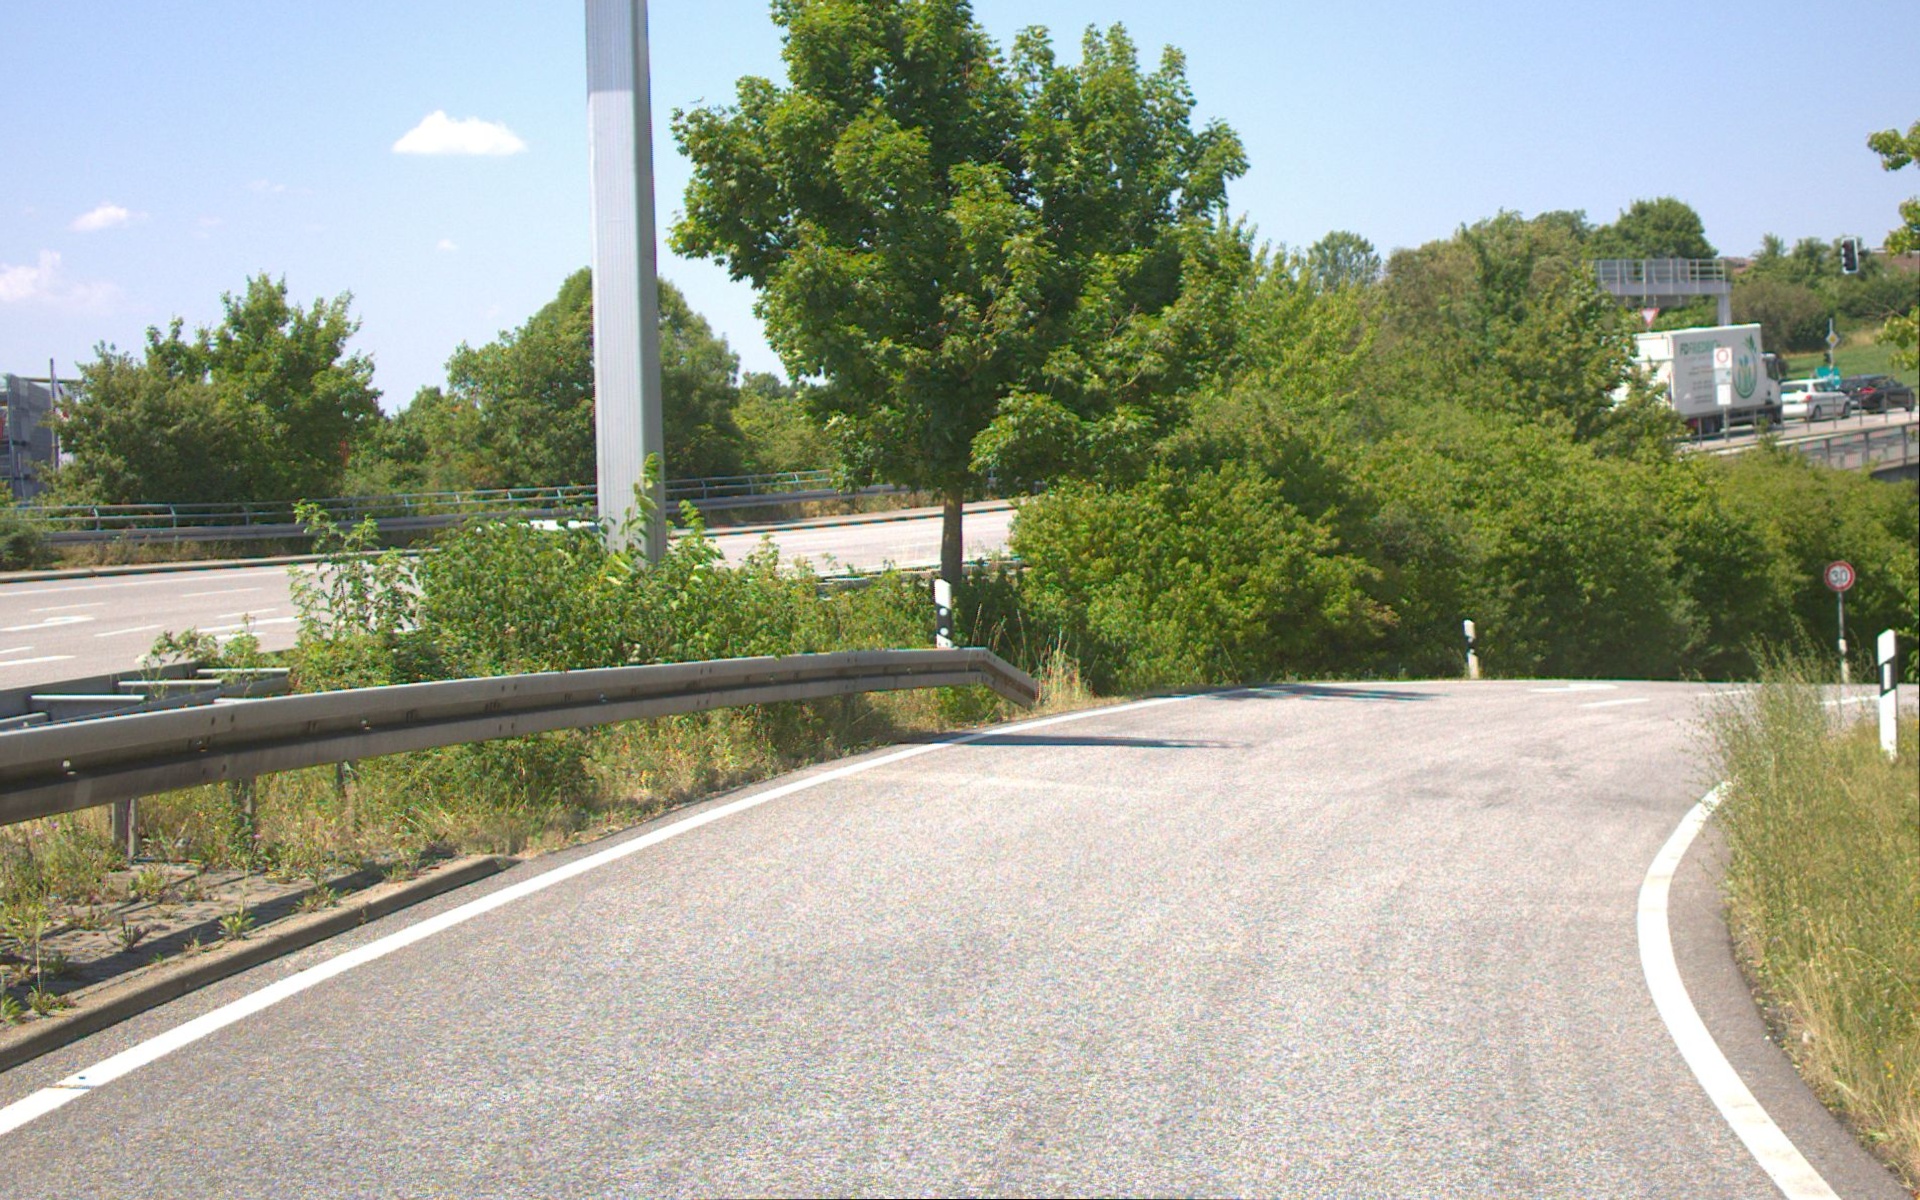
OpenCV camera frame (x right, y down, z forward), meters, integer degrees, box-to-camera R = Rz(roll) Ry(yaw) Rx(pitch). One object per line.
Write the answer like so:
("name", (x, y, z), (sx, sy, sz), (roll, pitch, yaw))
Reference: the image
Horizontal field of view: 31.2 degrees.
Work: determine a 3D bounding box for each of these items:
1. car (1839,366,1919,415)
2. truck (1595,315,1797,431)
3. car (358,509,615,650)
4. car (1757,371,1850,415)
("car", (33.844, -7.669, 126.228), (1.997, 1.612, 3.993), (1, 1, 30))
("truck", (24.653, -7.553, 114.819), (3.033, 3.577, 8.885), (-2, 2, 37))
("car", (-5.251, -0.248, 38.665), (1.994, 1.481, 4.135), (0, 1, 5))
("car", (29.505, -7.233, 120.154), (1.901, 1.358, 3.992), (1, 1, 34))
